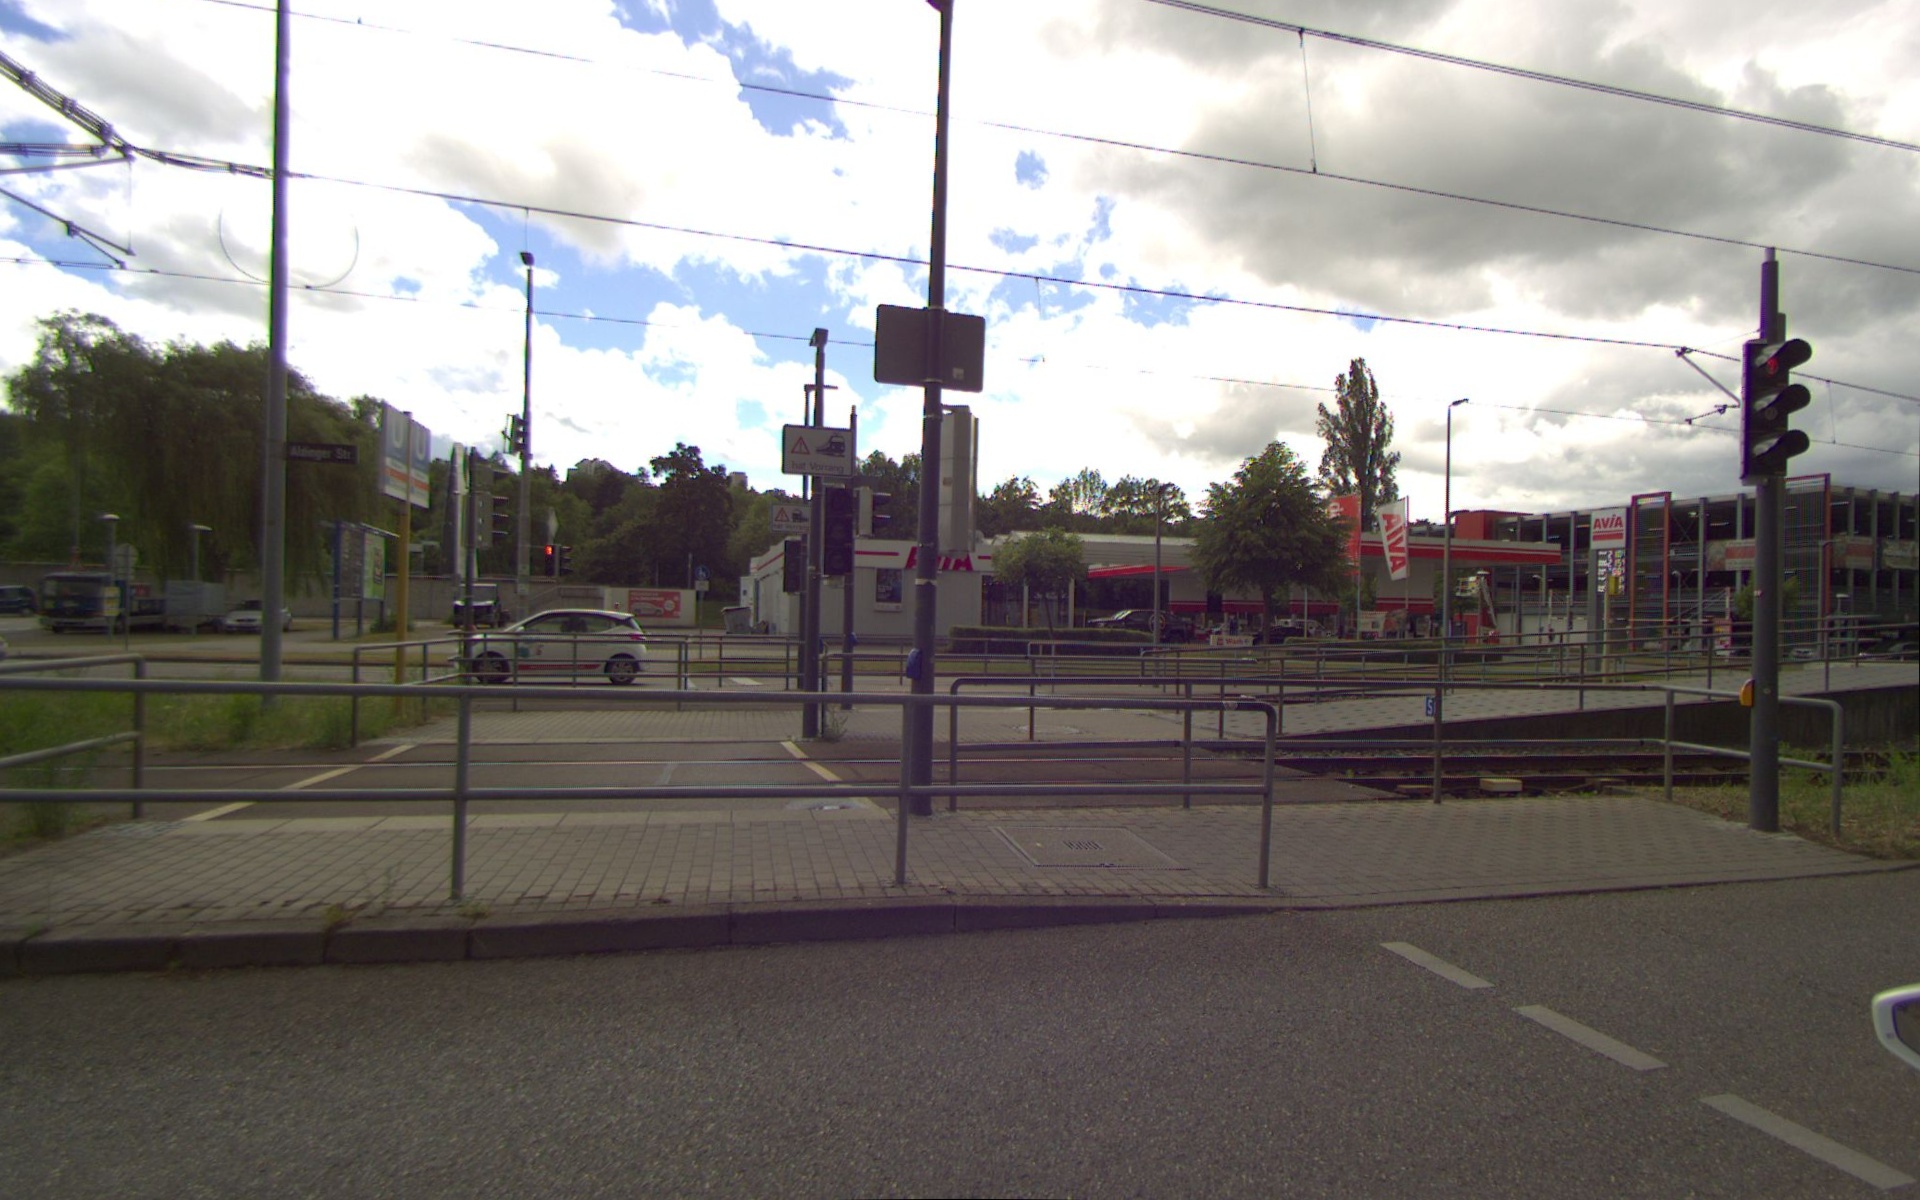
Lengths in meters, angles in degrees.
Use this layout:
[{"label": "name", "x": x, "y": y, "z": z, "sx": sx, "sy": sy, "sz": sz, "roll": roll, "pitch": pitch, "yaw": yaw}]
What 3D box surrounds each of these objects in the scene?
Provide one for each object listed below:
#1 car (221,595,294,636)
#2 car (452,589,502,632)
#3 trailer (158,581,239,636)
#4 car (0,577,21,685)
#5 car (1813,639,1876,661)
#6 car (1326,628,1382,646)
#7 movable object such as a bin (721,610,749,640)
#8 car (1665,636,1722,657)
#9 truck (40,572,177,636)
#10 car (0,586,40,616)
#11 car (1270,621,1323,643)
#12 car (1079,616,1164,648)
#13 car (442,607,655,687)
[{"label": "car", "x": -31.940, "y": 0.720, "z": 45.771, "sx": 1.729, "sy": 1.766, "sz": 3.839, "roll": 2, "pitch": -1, "yaw": -21}, {"label": "car", "x": -25.258, "y": 0.599, "z": 52.667, "sx": 1.818, "sy": 2.078, "sz": 4.363, "roll": 2, "pitch": -3, "yaw": -19}, {"label": "trailer", "x": -34.313, "y": 0.441, "z": 45.390, "sx": 1.536, "sy": 2.287, "sz": 4.374, "roll": 2, "pitch": -3, "yaw": -19}, {"label": "car", "x": -16.653, "y": 0.402, "z": 14.769, "sx": 4.096, "sy": 1.663, "sz": 1.728, "roll": 3, "pitch": -2, "yaw": -44}, {"label": "car", "x": 64.906, "y": 3.677, "z": 73.702, "sx": 3.939, "sy": 1.559, "sz": 1.775, "roll": 2, "pitch": -2, "yaw": -20}, {"label": "car", "x": 31.707, "y": 2.991, "z": 80.915, "sx": 3.999, "sy": 1.383, "sz": 1.907, "roll": 2, "pitch": -3, "yaw": -21}, {"label": "movable object such as a bin", "x": -11.522, "y": 1.283, "z": 51.538, "sx": 1.349, "sy": 1.514, "sz": 1.102, "roll": 2, "pitch": -2, "yaw": -13}, {"label": "car", "x": 54.122, "y": 3.432, "z": 74.098, "sx": 3.505, "sy": 1.433, "sz": 1.715, "roll": 2, "pitch": -3, "yaw": -19}, {"label": "truck", "x": -36.499, "y": 0.219, "z": 43.297, "sx": 2.349, "sy": 2.527, "sz": 5.803, "roll": 2, "pitch": -1, "yaw": -18}, {"label": "car", "x": -52.972, "y": 0.020, "z": 54.922, "sx": 3.600, "sy": 1.575, "sz": 1.713, "roll": 3, "pitch": -3, "yaw": -31}, {"label": "car", "x": 28.528, "y": 2.732, "z": 85.271, "sx": 3.999, "sy": 1.775, "sz": 1.907, "roll": 2, "pitch": -3, "yaw": -21}, {"label": "car", "x": 7.557, "y": 1.488, "z": 46.960, "sx": 3.578, "sy": 1.368, "sz": 1.612, "roll": 2, "pitch": -1, "yaw": -18}, {"label": "car", "x": -8.133, "y": 0.957, "z": 20.196, "sx": 3.769, "sy": 1.473, "sz": 1.626, "roll": 2, "pitch": -3, "yaw": -18}]
